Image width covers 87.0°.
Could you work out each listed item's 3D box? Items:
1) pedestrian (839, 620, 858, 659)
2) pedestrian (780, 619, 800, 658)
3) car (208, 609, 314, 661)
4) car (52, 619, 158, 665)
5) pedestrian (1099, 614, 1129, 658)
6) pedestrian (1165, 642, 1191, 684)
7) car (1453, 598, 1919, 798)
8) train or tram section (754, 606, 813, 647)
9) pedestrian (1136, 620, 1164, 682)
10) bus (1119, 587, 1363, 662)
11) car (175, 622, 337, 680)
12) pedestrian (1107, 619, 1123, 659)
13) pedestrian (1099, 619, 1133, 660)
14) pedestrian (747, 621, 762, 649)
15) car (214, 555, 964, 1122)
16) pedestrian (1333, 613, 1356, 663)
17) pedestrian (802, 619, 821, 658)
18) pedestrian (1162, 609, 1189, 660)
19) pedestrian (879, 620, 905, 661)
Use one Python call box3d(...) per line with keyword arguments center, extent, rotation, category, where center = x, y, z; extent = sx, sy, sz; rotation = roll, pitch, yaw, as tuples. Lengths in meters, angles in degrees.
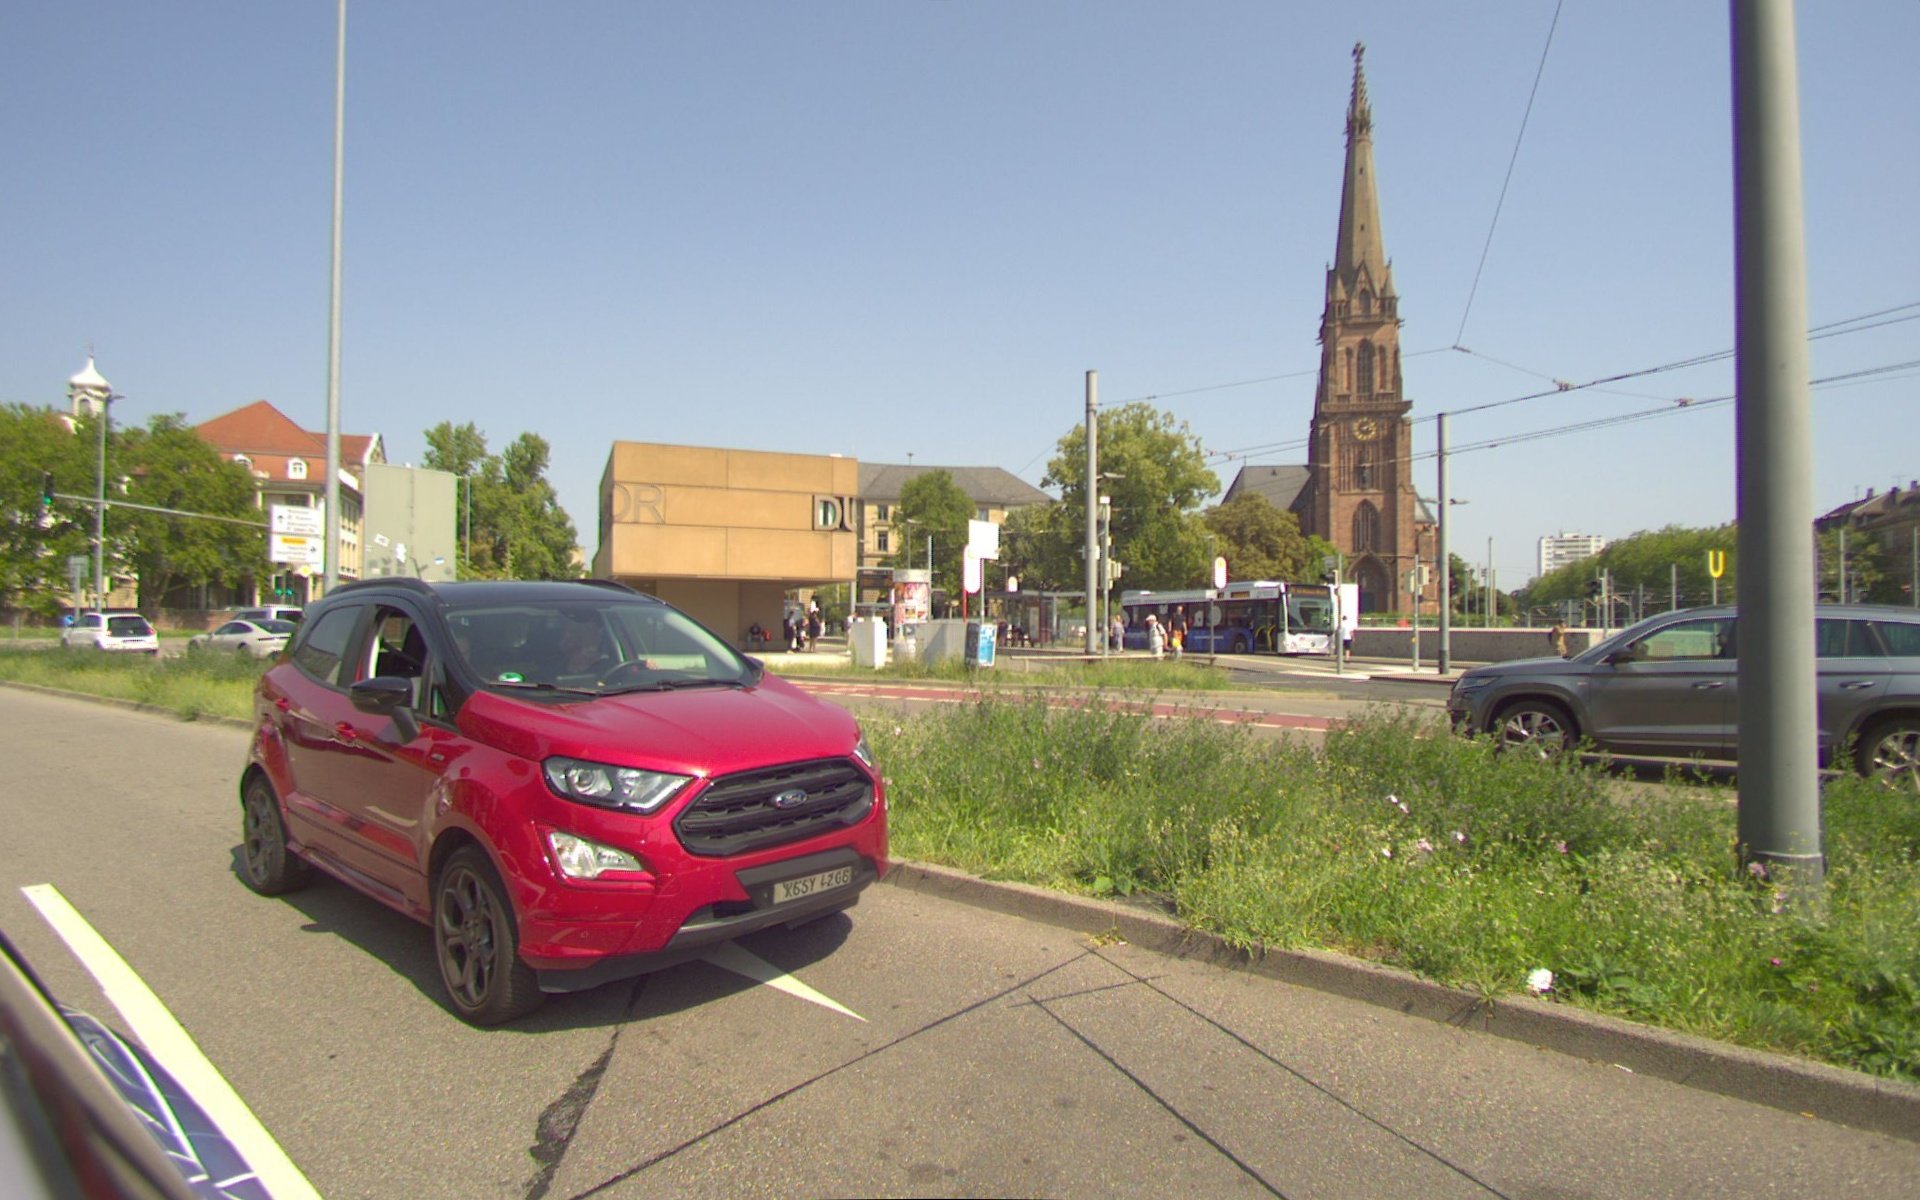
box3d(center=(-4.443, 1.577, 40.450), extent=(0.541, 1.508, 0.532), rotation=(-1, -2, 39), category="pedestrian")
box3d(center=(-6.661, 1.521, 39.696), extent=(0.541, 1.508, 0.532), rotation=(-1, -2, 39), category="pedestrian")
box3d(center=(-26.644, 1.306, 38.555), extent=(3.901, 1.868, 1.849), rotation=(0, -2, 31), category="car")
box3d(center=(-29.216, 1.415, 34.567), extent=(3.459, 1.490, 1.513), rotation=(-1, -2, 27), category="car")
box3d(center=(6.571, 1.536, 43.167), extent=(0.913, 1.837, 0.940), rotation=(1, -2, -25), category="pedestrian")
box3d(center=(6.069, 1.754, 28.218), extent=(0.593, 1.134, 0.638), rotation=(-1, 0, 1), category="pedestrian")
box3d(center=(7.335, 0.827, 9.601), extent=(4.536, 1.612, 1.749), rotation=(-1, -2, 37), category="car")
box3d(center=(-16.191, 2.438, 91.909), extent=(2.658, 3.465, 13.464), rotation=(1, -2, -21), category="train or tram section")
box3d(center=(5.389, 1.444, 28.750), extent=(0.684, 1.724, 0.536), rotation=(0, -2, 2), category="pedestrian")
box3d(center=(11.343, 1.084, 43.138), extent=(3.346, 2.733, 12.382), rotation=(1, -2, -21), category="bus")
box3d(center=(-20.638, 1.458, 29.659), extent=(4.693, 1.597, 1.981), rotation=(-1, -2, 28), category="car")
box3d(center=(7.259, 1.825, 47.349), extent=(0.632, 1.825, 0.599), rotation=(-1, 0, 15), category="pedestrian")
box3d(center=(6.629, 1.676, 43.064), extent=(1.060, 1.709, 1.068), rotation=(1, -2, -21), category="pedestrian")
box3d(center=(-8.337, 1.423, 41.109), extent=(0.530, 1.108, 0.543), rotation=(1, -2, -18), category="pedestrian")
box3d(center=(-1.983, 0.703, 4.762), extent=(3.843, 1.598, 1.672), rotation=(-1, -1, 41), category="car")
box3d(center=(14.392, 1.417, 37.862), extent=(0.638, 1.825, 0.593), rotation=(-1, 0, 43), category="pedestrian")
box3d(center=(-5.938, 1.538, 40.495), extent=(0.541, 1.508, 0.532), rotation=(-1, -2, 39), category="pedestrian")
box3d(center=(7.969, 1.277, 37.448), extent=(0.792, 1.837, 0.535), rotation=(1, -2, -21), category="pedestrian")
box3d(center=(-2.557, 1.497, 37.855), extent=(0.605, 1.508, 0.761), rotation=(-1, -2, 39), category="pedestrian")
